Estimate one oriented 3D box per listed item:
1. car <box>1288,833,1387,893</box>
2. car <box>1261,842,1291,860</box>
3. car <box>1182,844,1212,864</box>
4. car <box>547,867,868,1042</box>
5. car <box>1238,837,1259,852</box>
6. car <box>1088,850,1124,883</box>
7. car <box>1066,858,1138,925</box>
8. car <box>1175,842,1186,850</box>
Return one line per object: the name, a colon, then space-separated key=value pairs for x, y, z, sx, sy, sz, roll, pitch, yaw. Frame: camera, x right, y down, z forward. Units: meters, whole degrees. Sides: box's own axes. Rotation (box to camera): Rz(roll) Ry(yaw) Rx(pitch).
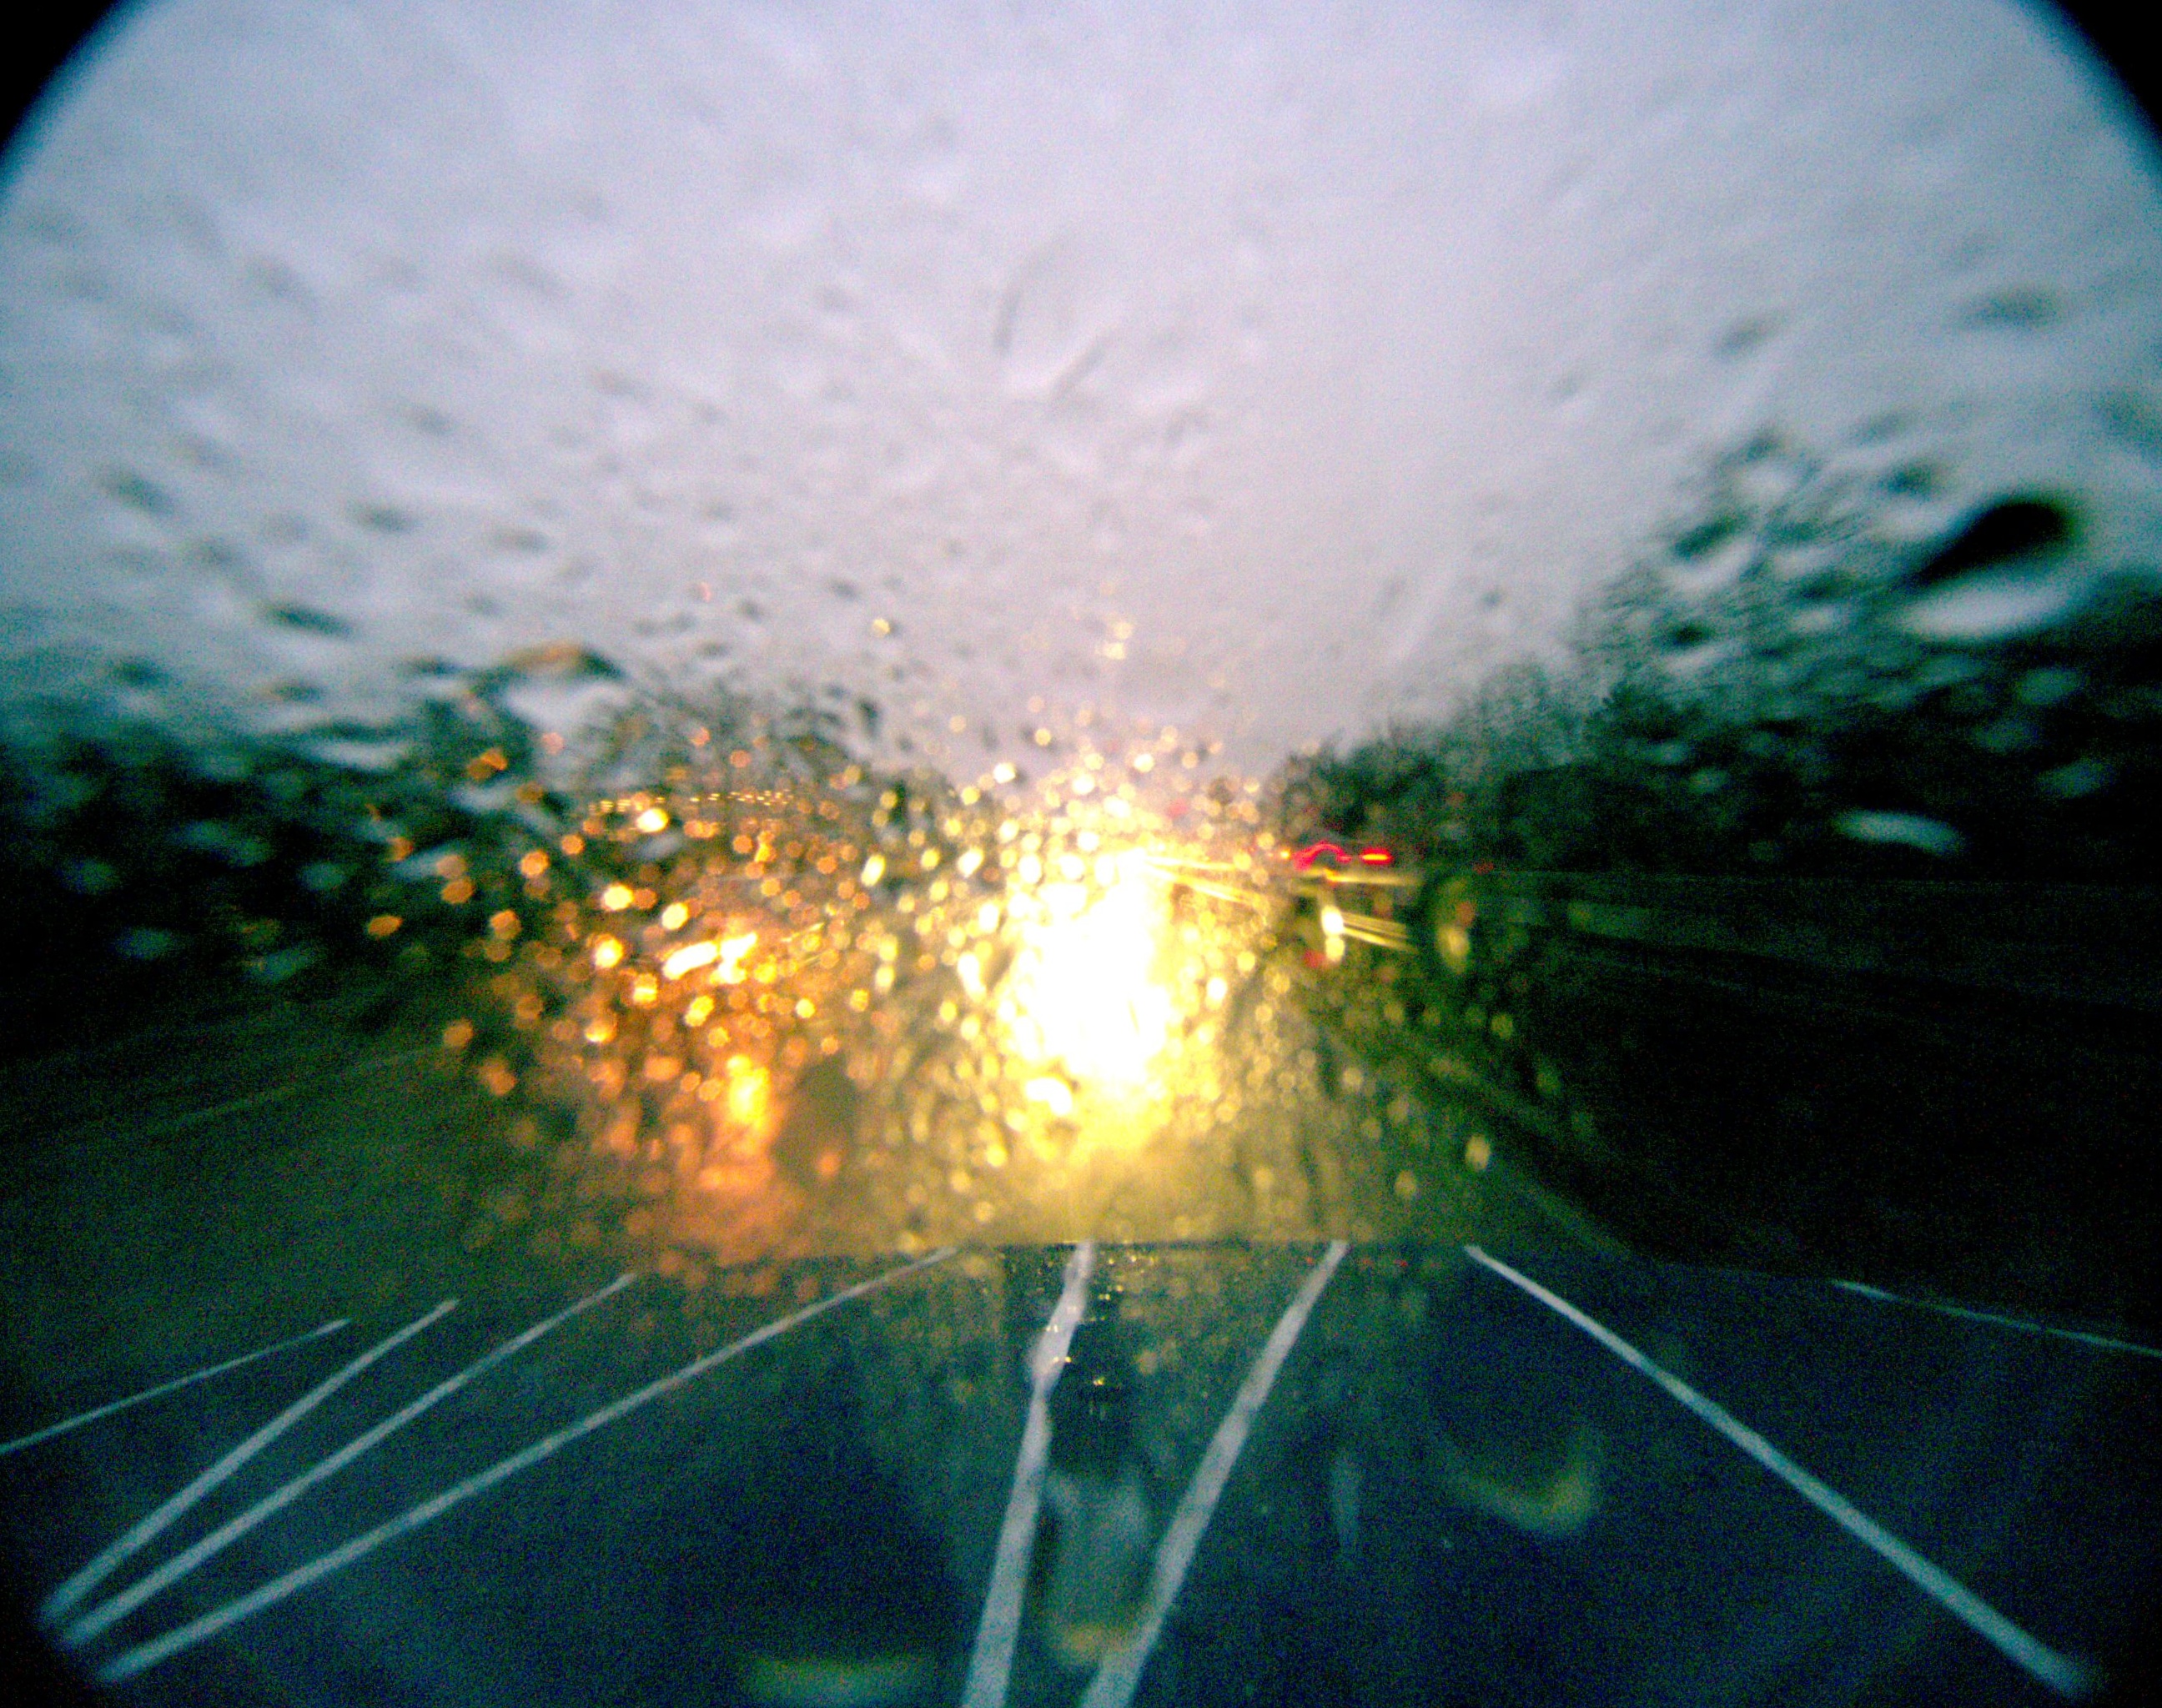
car: x=8.083 y=0.234 z=24.321 sx=1.771 sy=1.674 sz=3.999 roll=-3 pitch=1 yaw=1
car: x=18.356 y=-0.326 z=71.618 sx=1.867 sy=1.530 sz=4.113 roll=-3 pitch=1 yaw=3
car: x=8.876 y=-0.027 z=58.447 sx=1.758 sy=1.433 sz=4.000 roll=-3 pitch=1 yaw=3
car: x=-4.294 y=1.040 z=9.665 sx=1.854 sy=1.493 sz=4.261 roll=-3 pitch=1 yaw=1
car: x=21.672 y=-1.203 z=98.509 sx=1.884 sy=1.822 sz=4.787 roll=-3 pitch=1 yaw=3
car: x=1.305 y=0.624 z=40.319 sx=1.758 sy=1.521 sz=3.999 roll=-3 pitch=1 yaw=1
car: x=0.452 y=0.887 z=19.889 sx=1.595 sy=1.445 sz=4.175 roll=-3 pitch=0 yaw=-1
car: x=19.515 y=-1.524 z=148.766 sx=1.787 sy=1.501 sz=4.135 roll=-3 pitch=1 yaw=4
